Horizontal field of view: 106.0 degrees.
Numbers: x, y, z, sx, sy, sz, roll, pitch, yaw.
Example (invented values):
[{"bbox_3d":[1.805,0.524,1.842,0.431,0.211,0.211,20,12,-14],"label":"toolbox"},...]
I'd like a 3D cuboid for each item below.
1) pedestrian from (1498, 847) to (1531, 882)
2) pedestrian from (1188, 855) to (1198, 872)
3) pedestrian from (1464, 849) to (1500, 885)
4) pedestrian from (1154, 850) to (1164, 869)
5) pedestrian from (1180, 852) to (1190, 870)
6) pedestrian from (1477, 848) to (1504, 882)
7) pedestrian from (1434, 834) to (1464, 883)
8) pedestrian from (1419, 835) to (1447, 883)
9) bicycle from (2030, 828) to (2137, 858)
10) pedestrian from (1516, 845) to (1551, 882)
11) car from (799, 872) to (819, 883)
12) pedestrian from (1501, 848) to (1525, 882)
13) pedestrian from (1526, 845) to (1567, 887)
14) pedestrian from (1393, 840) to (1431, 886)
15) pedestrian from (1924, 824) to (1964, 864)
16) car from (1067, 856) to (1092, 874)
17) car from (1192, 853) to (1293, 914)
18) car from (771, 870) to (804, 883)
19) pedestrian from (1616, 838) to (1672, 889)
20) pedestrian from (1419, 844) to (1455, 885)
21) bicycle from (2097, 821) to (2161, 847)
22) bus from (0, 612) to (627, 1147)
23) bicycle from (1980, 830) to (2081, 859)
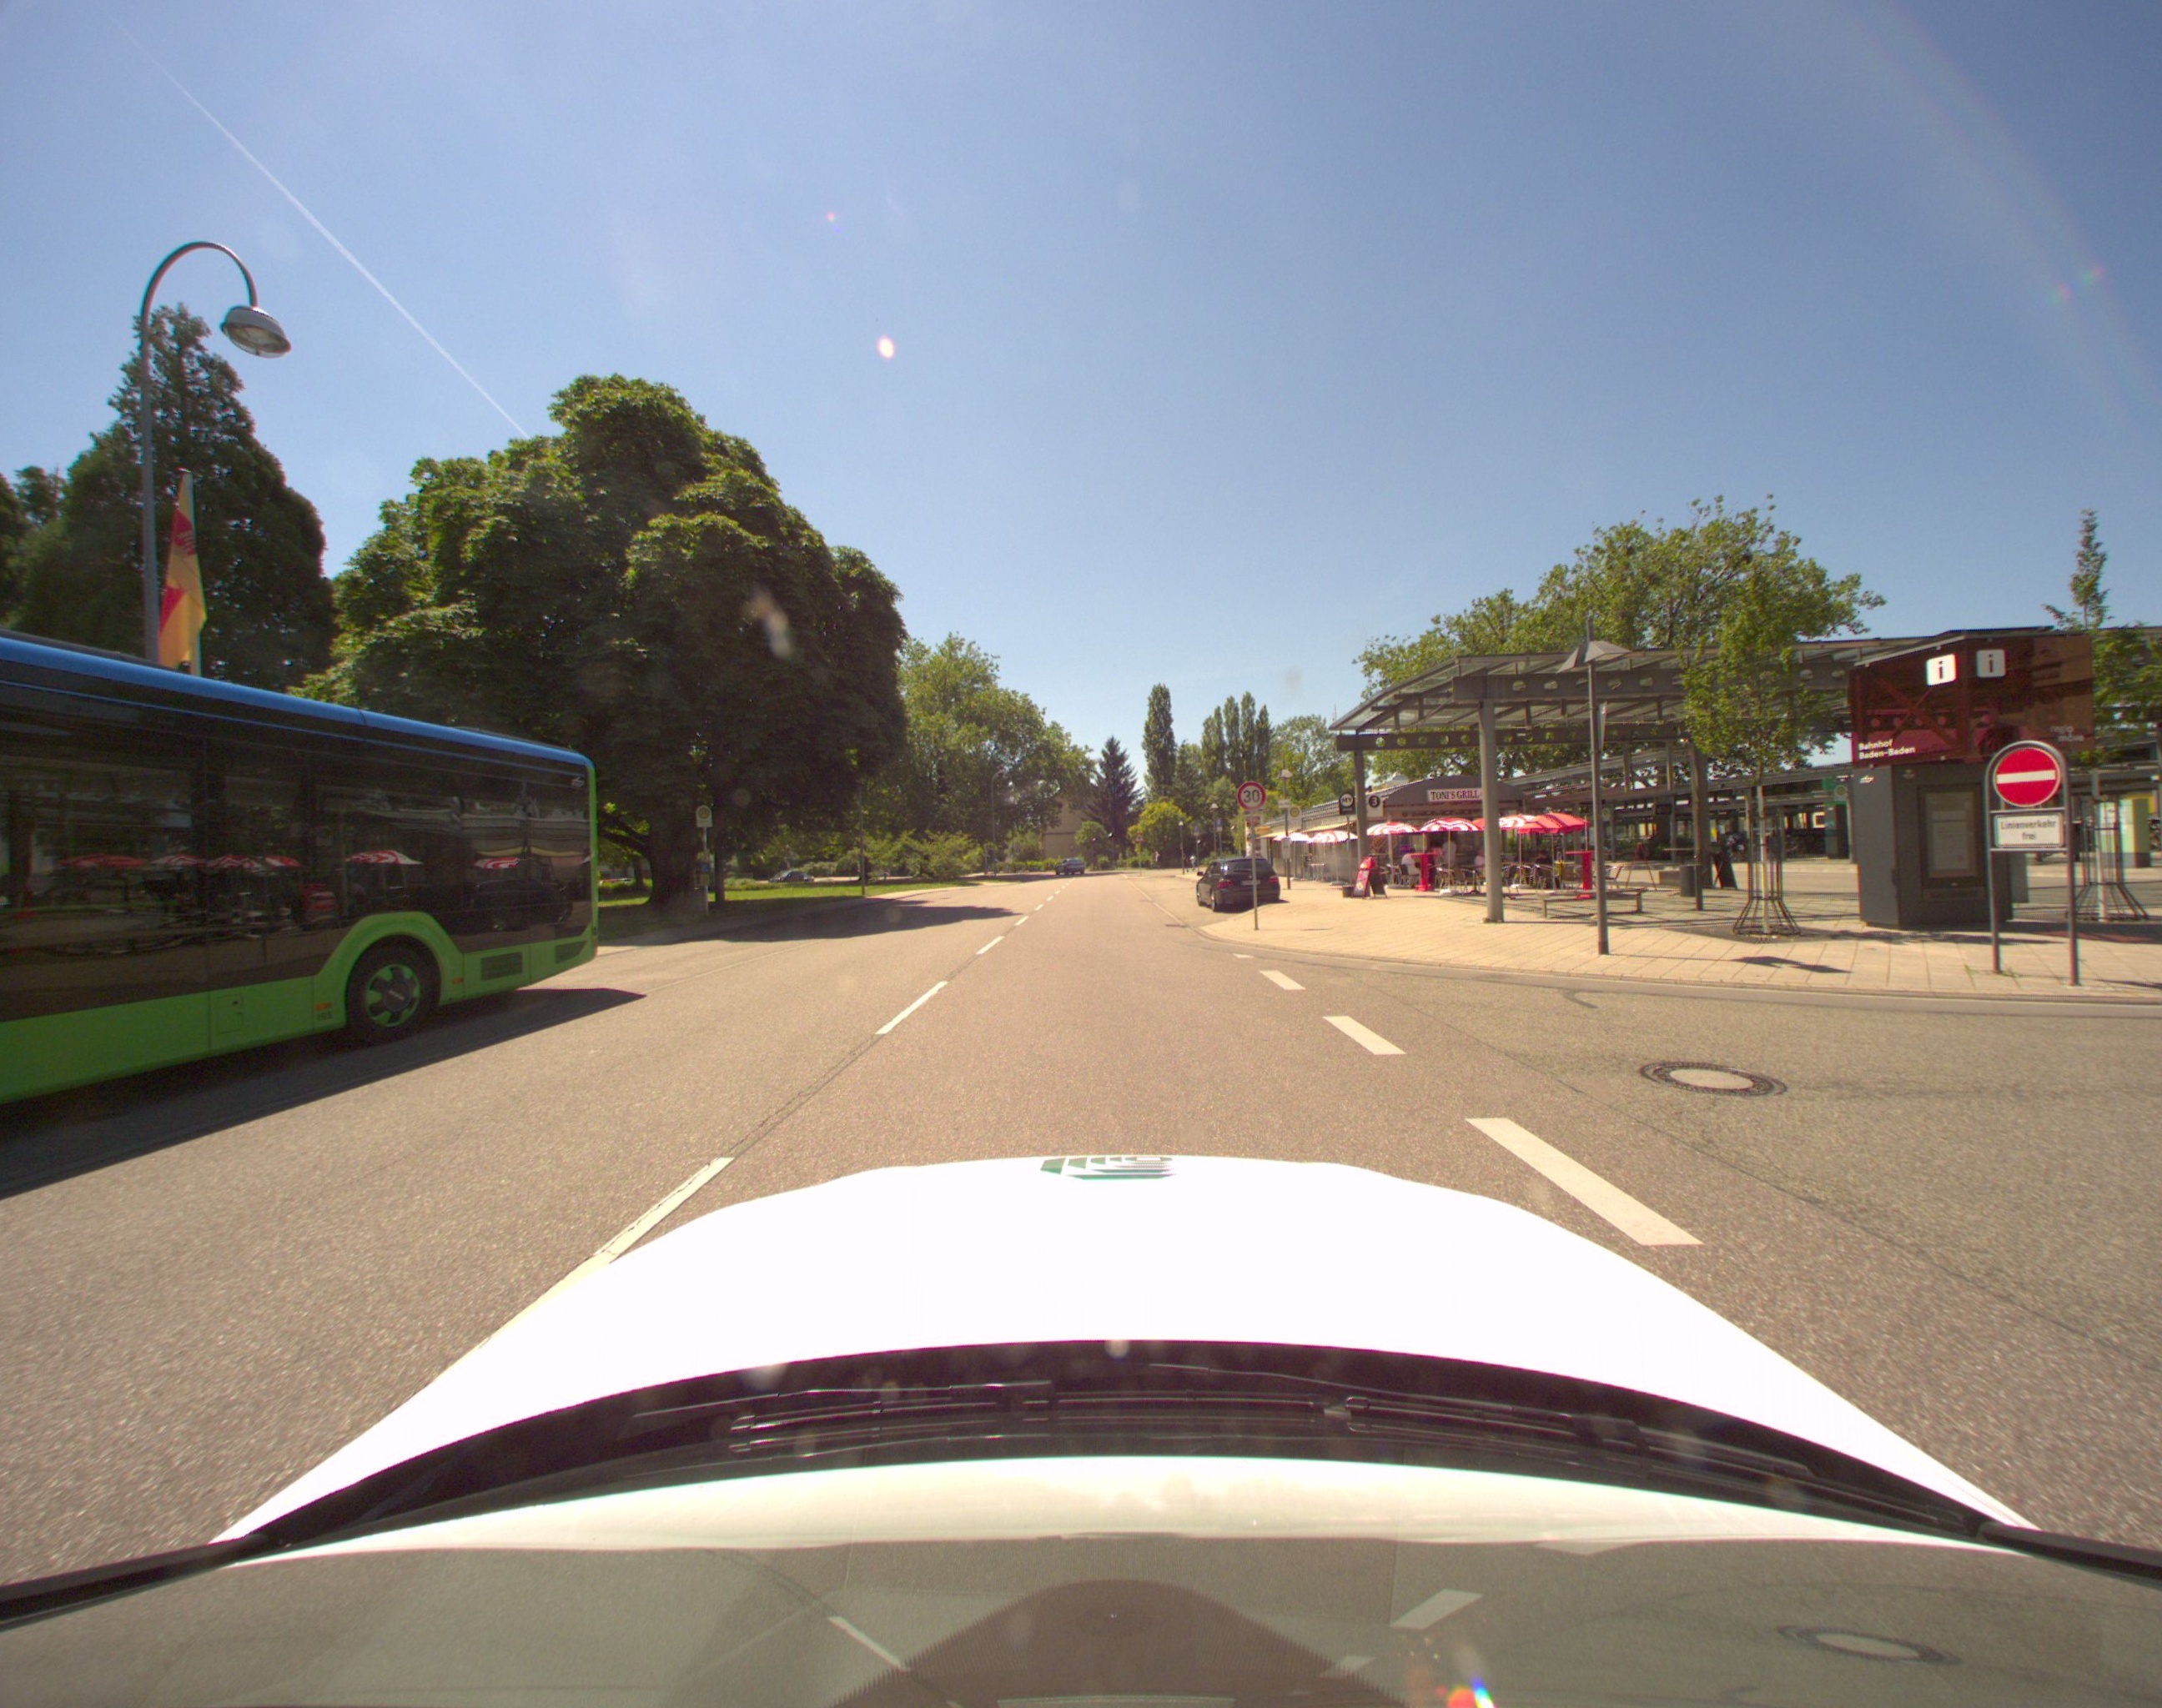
[{"bbox_3d":[14.960,0.355,28.127,0.756,1.205,0.737,0,-1,1],"label":"pedestrian"},{"bbox_3d":[10.595,0.900,77.027,0.713,1.650,0.755,-2,-3,29],"label":"pedestrian"},{"bbox_3d":[13.434,0.428,27.268,0.898,1.161,0.681,-2,-1,-34],"label":"pedestrian"},{"bbox_3d":[8.183,0.583,85.416,0.848,1.965,0.809,-2,-1,14],"label":"pedestrian"},{"bbox_3d":[9.641,0.652,75.577,0.629,1.650,0.755,-2,-3,29],"label":"pedestrian"},{"bbox_3d":[14.658,0.396,29.169,0.653,1.205,0.592,0,-1,0],"label":"pedestrian"},{"bbox_3d":[13.228,0.160,29.268,0.684,1.738,0.707,-2,-1,1],"label":"pedestrian"},{"bbox_3d":[13.289,0.190,30.728,0.684,1.738,0.707,-2,-1,1],"label":"pedestrian"},{"bbox_3d":[34.865,-0.366,28.335,2.778,1.004,0.811,0,-1,-2],"label":"bicycle"},{"bbox_3d":[14.989,0.331,26.969,0.756,1.205,0.737,0,-1,1],"label":"pedestrian"},{"bbox_3d":[-35.088,3.052,105.064,1.816,1.310,3.976,-2,0,-9],"label":"car"},{"bbox_3d":[15.473,0.397,29.155,0.650,1.205,0.595,0,-2,16],"label":"pedestrian"},{"bbox_3d":[13.404,0.340,23.456,0.683,1.161,0.896,-2,-1,5],"label":"pedestrian"},{"bbox_3d":[10.491,0.297,25.803,0.899,1.418,0.681,-1,-1,-37],"label":"pedestrian"},{"bbox_3d":[31.852,-0.363,30.066,0.623,1.395,0.676,-4,-1,0],"label":"pedestrian"},{"bbox_3d":[-0.132,1.092,82.122,1.973,1.627,4.786,-2,0,6],"label":"car"},{"bbox_3d":[4.566,0.794,23.736,1.920,1.460,4.724,-5,-1,0],"label":"car"},{"bbox_3d":[-33.199,2.538,92.165,1.538,1.410,3.818,-2,0,16],"label":"car"},{"bbox_3d":[14.722,0.240,21.337,0.841,1.277,0.896,-2,-1,5],"label":"pedestrian"},{"bbox_3d":[11.976,0.352,27.382,0.898,1.312,0.681,-2,-1,-34],"label":"pedestrian"},{"bbox_3d":[42.602,-0.782,32.577,2.778,1.004,0.966,0,-1,-2],"label":"bicycle"},{"bbox_3d":[-8.019,0.193,5.380,2.799,3.283,12.426,-2,0,1],"label":"bus"},{"bbox_3d":[34.589,-0.339,29.684,2.778,1.004,0.811,0,-1,-2],"label":"bicycle"}]
